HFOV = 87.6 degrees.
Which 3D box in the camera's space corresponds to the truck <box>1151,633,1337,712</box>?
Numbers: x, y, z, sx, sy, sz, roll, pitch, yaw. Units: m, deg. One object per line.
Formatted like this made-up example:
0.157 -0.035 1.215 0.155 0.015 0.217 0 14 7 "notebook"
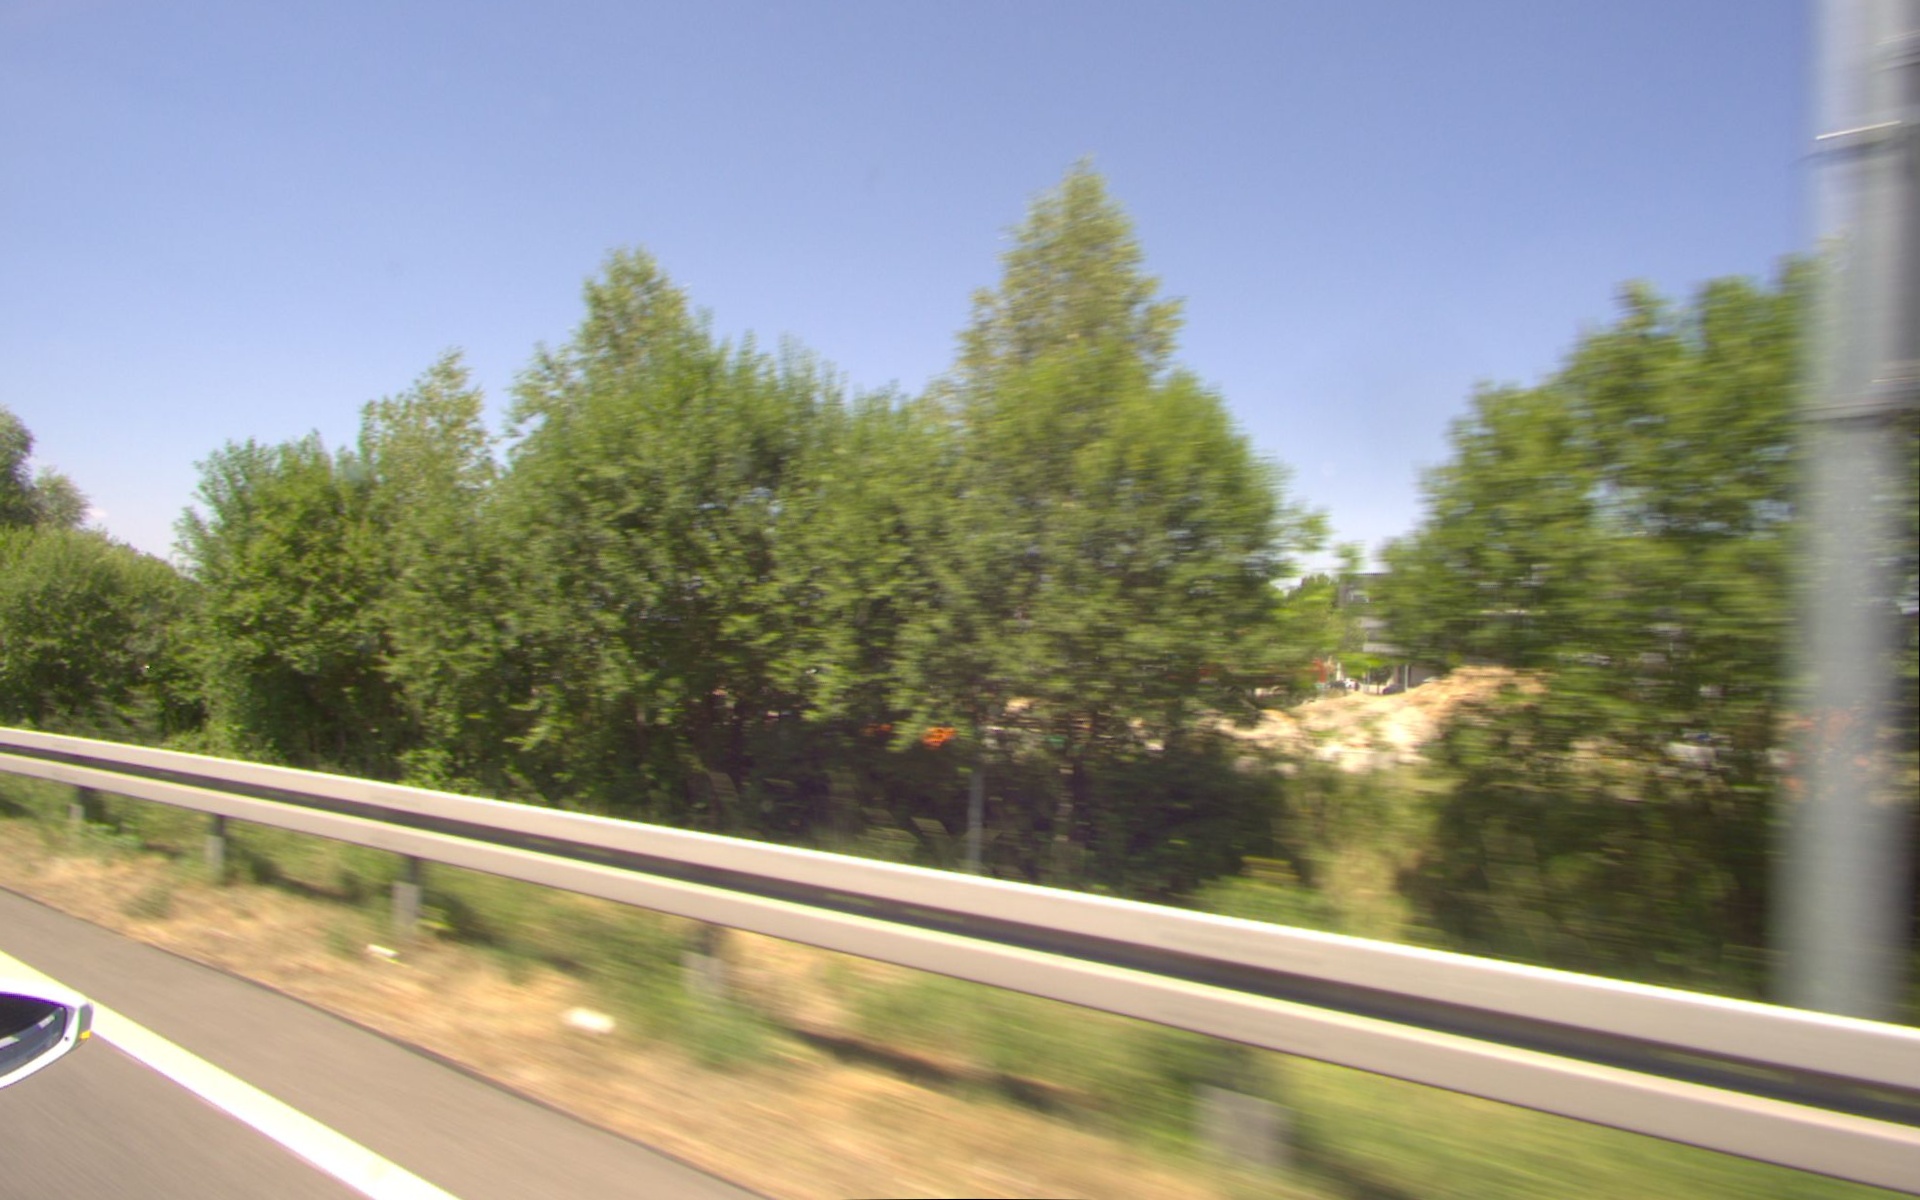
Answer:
15.337 3.909 54.188 9.253 3.731 3.127 4 -2 -15 "truck"
